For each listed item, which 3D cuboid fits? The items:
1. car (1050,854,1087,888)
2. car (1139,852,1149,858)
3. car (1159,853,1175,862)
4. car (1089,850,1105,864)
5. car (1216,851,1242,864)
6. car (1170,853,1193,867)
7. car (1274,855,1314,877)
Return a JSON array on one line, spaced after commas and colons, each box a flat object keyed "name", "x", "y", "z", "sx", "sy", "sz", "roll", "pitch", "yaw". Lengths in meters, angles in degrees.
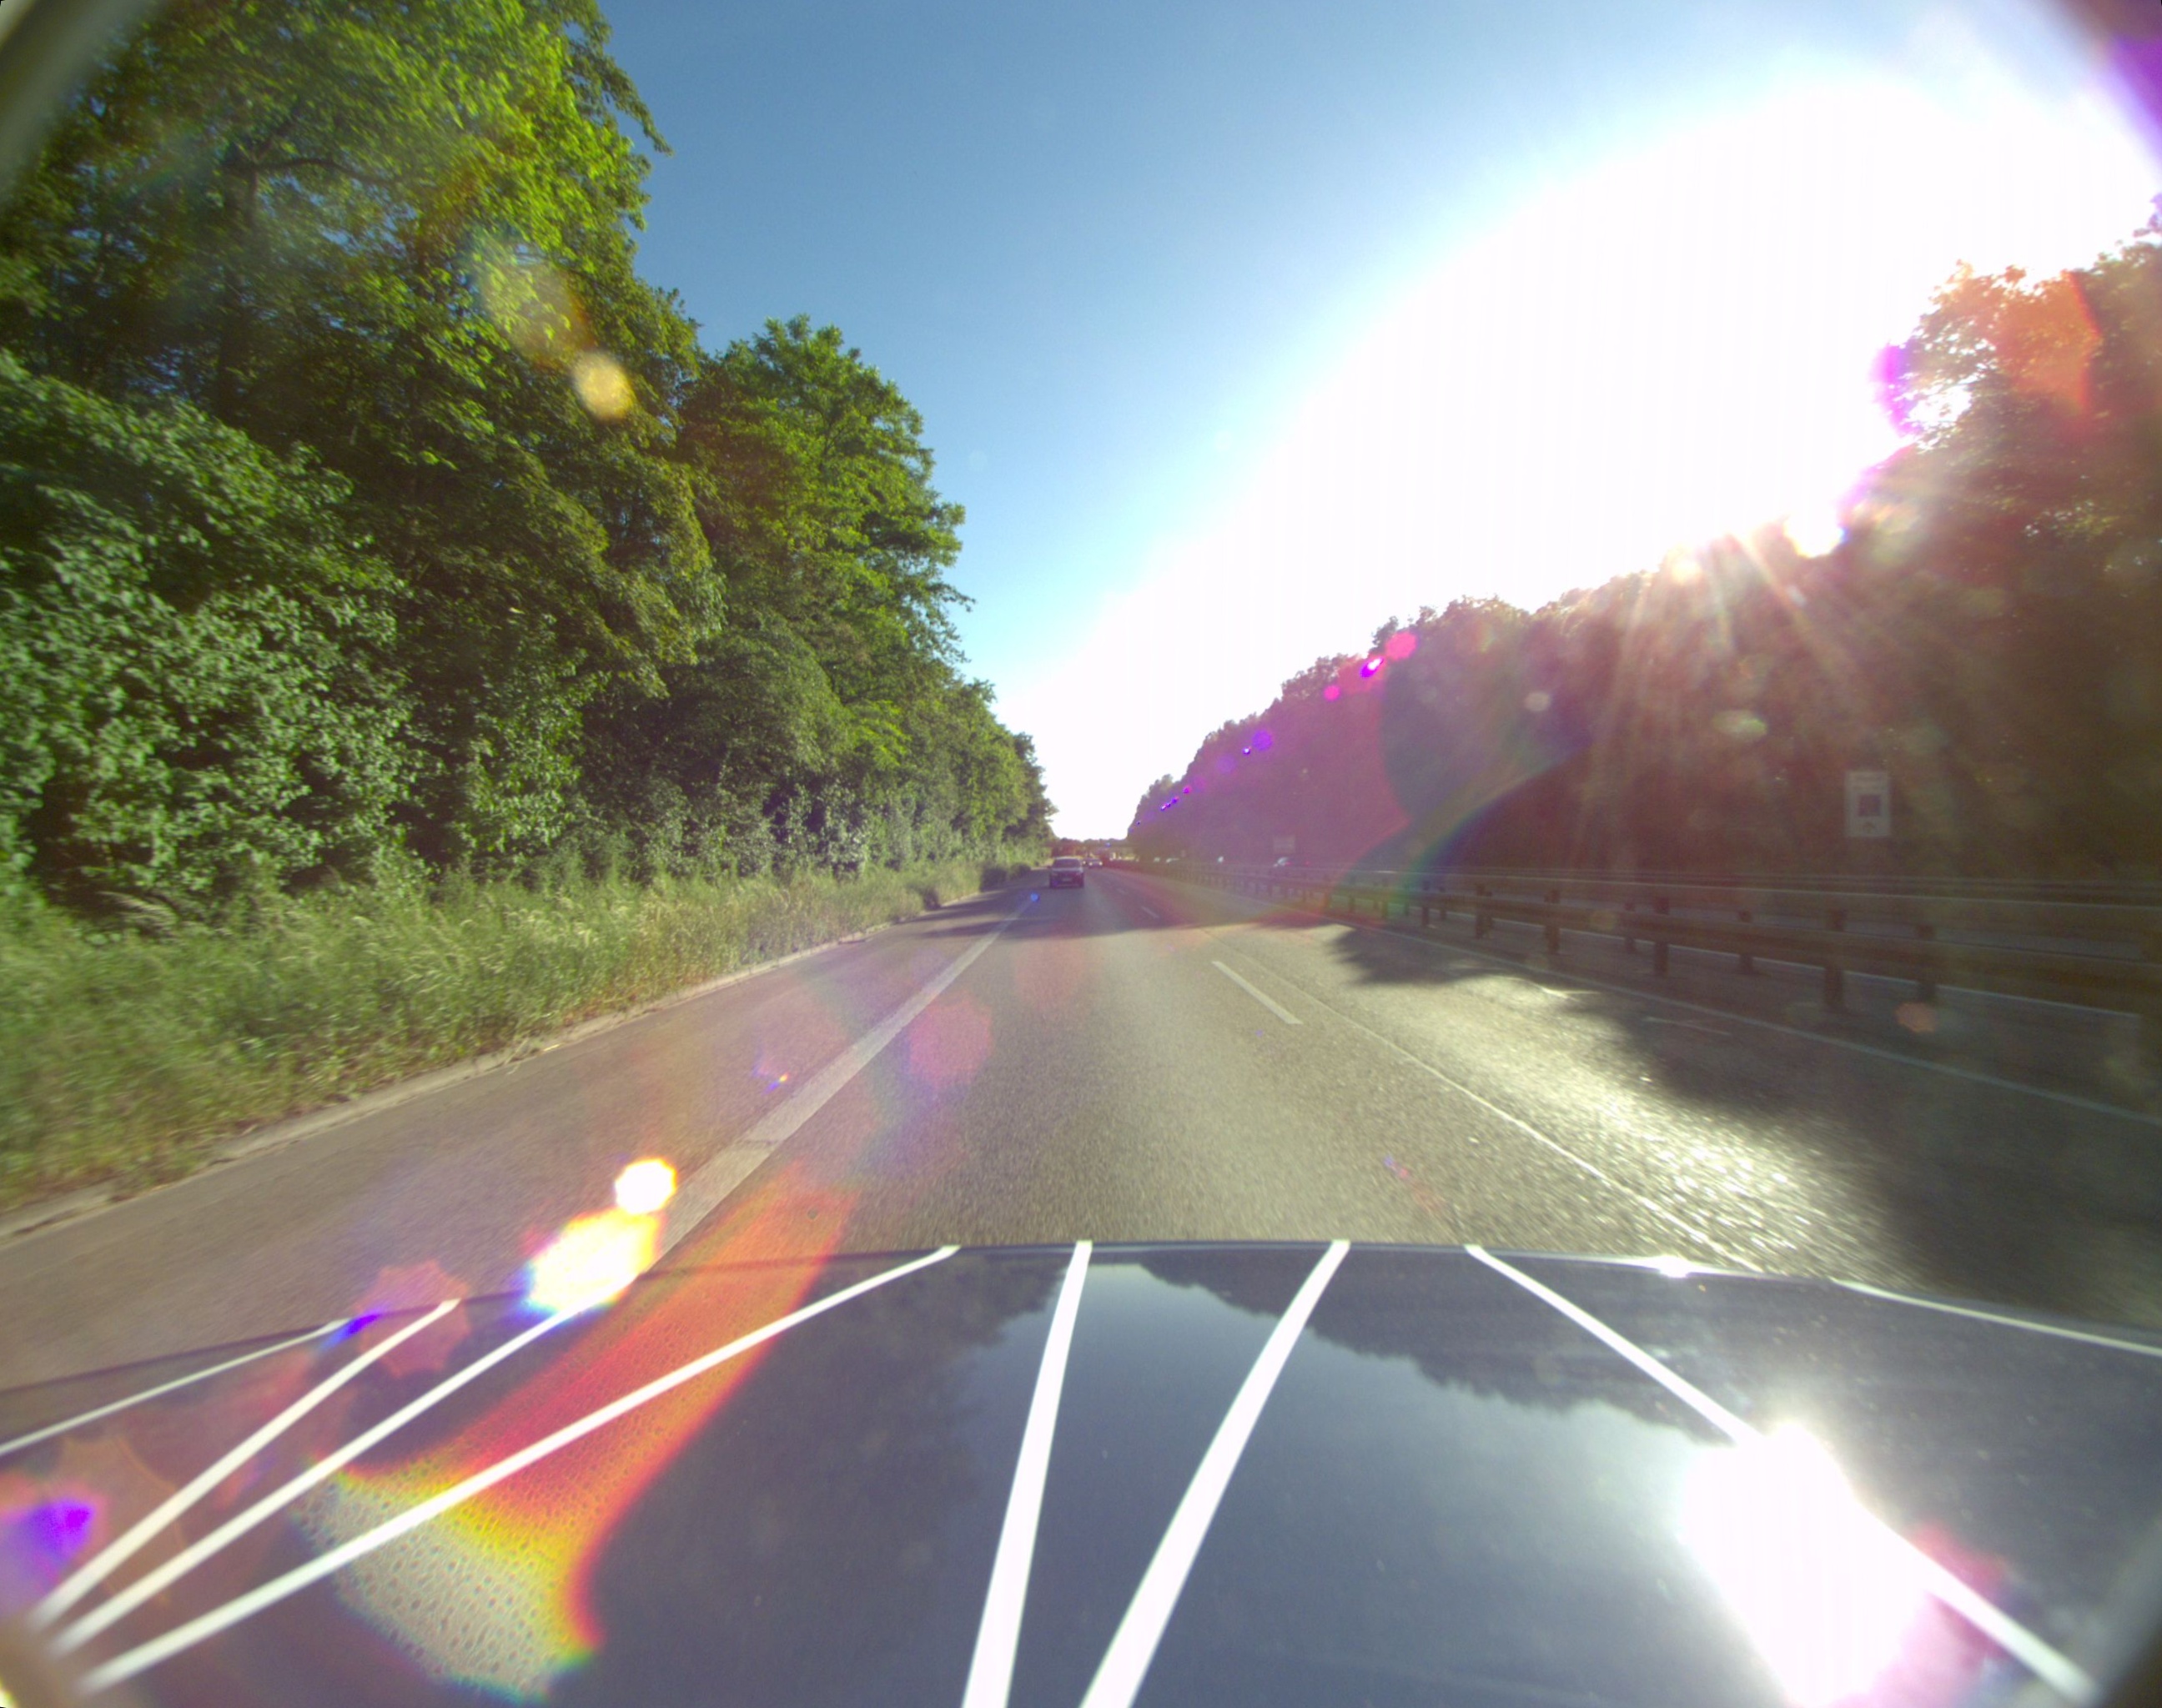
[{"name": "car", "x": -0.619, "y": 0.846, "z": 39.519, "sx": 1.712, "sy": 1.565, "sz": 3.422, "roll": -2, "pitch": 0, "yaw": 2}, {"name": "car", "x": 15.532, "y": 0.167, "z": 186.561, "sx": 1.999, "sy": 1.477, "sz": 3.999, "roll": 1, "pitch": 0, "yaw": -2}, {"name": "car", "x": 14.009, "y": 0.550, "z": 123.886, "sx": 1.998, "sy": 1.455, "sz": 4.000, "roll": 1, "pitch": 0, "yaw": 0}, {"name": "car", "x": 2.169, "y": 0.432, "z": 102.359, "sx": 1.999, "sy": 1.793, "sz": 3.999, "roll": 1, "pitch": 0, "yaw": -1}, {"name": "car", "x": 17.104, "y": 0.392, "z": 87.840, "sx": 1.998, "sy": 1.455, "sz": 4.902, "roll": 1, "pitch": 0, "yaw": 0}, {"name": "car", "x": 11.433, "y": 0.658, "z": 86.767, "sx": 1.998, "sy": 1.455, "sz": 4.740, "roll": 1, "pitch": 0, "yaw": 0}, {"name": "car", "x": 14.891, "y": 0.788, "z": 53.247, "sx": 1.610, "sy": 1.414, "sz": 3.999, "roll": -1, "pitch": 0, "yaw": 0}]
